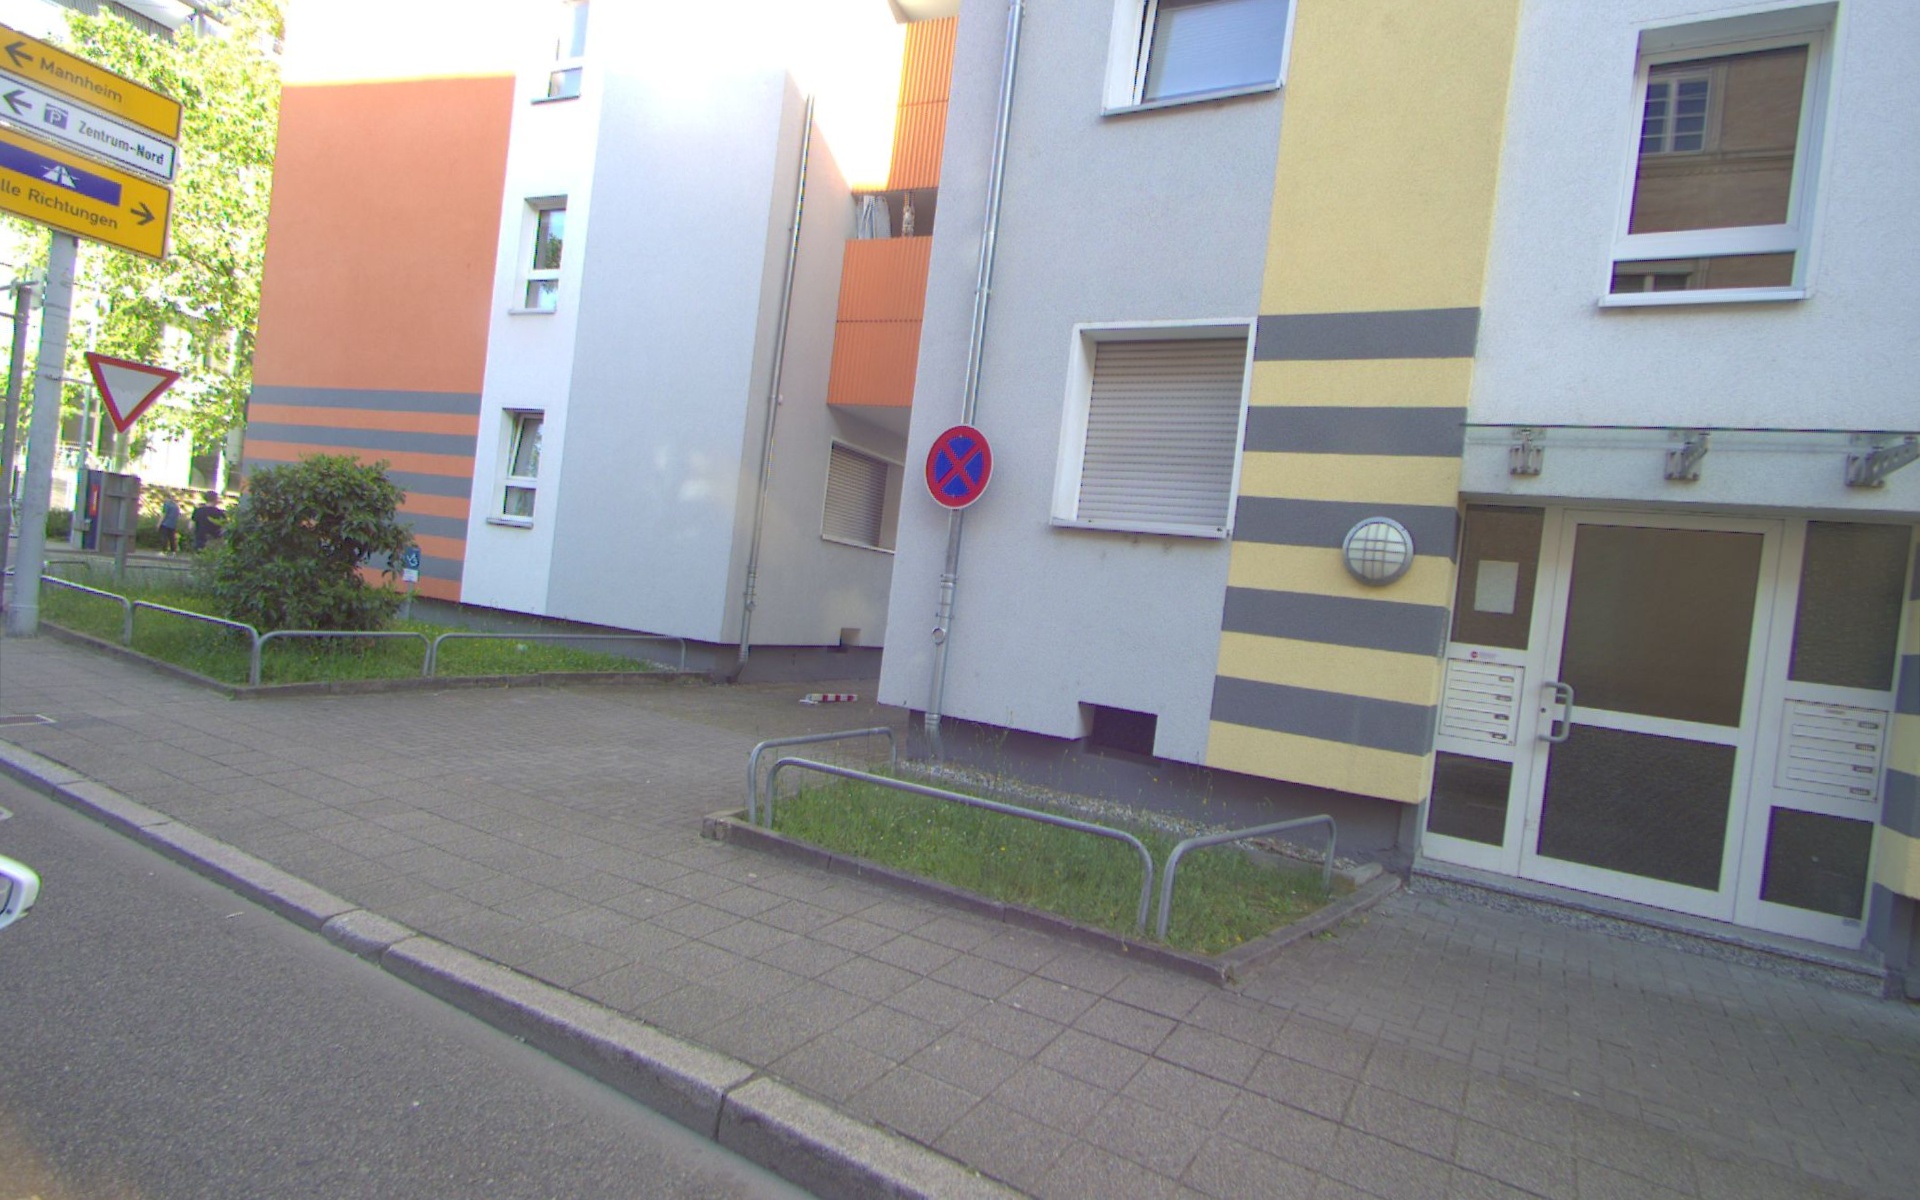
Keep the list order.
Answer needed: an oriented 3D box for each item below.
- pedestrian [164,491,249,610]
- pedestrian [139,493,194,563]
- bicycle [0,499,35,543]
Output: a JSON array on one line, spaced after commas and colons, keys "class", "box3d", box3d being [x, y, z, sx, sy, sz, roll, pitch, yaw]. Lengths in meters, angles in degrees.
[{"class": "pedestrian", "box3d": [-12.713, -0.826, 16.979, 0.823, 1.861, 0.708, 8, -1, 32]}, {"class": "pedestrian", "box3d": [-23.107, -2.093, 29.306, 0.696, 1.861, 0.837, 8, -1, 22]}, {"class": "bicycle", "box3d": [-26.292, -2.225, 27.355, 1.658, 1.063, 0.508, 9, 2, -3]}]
